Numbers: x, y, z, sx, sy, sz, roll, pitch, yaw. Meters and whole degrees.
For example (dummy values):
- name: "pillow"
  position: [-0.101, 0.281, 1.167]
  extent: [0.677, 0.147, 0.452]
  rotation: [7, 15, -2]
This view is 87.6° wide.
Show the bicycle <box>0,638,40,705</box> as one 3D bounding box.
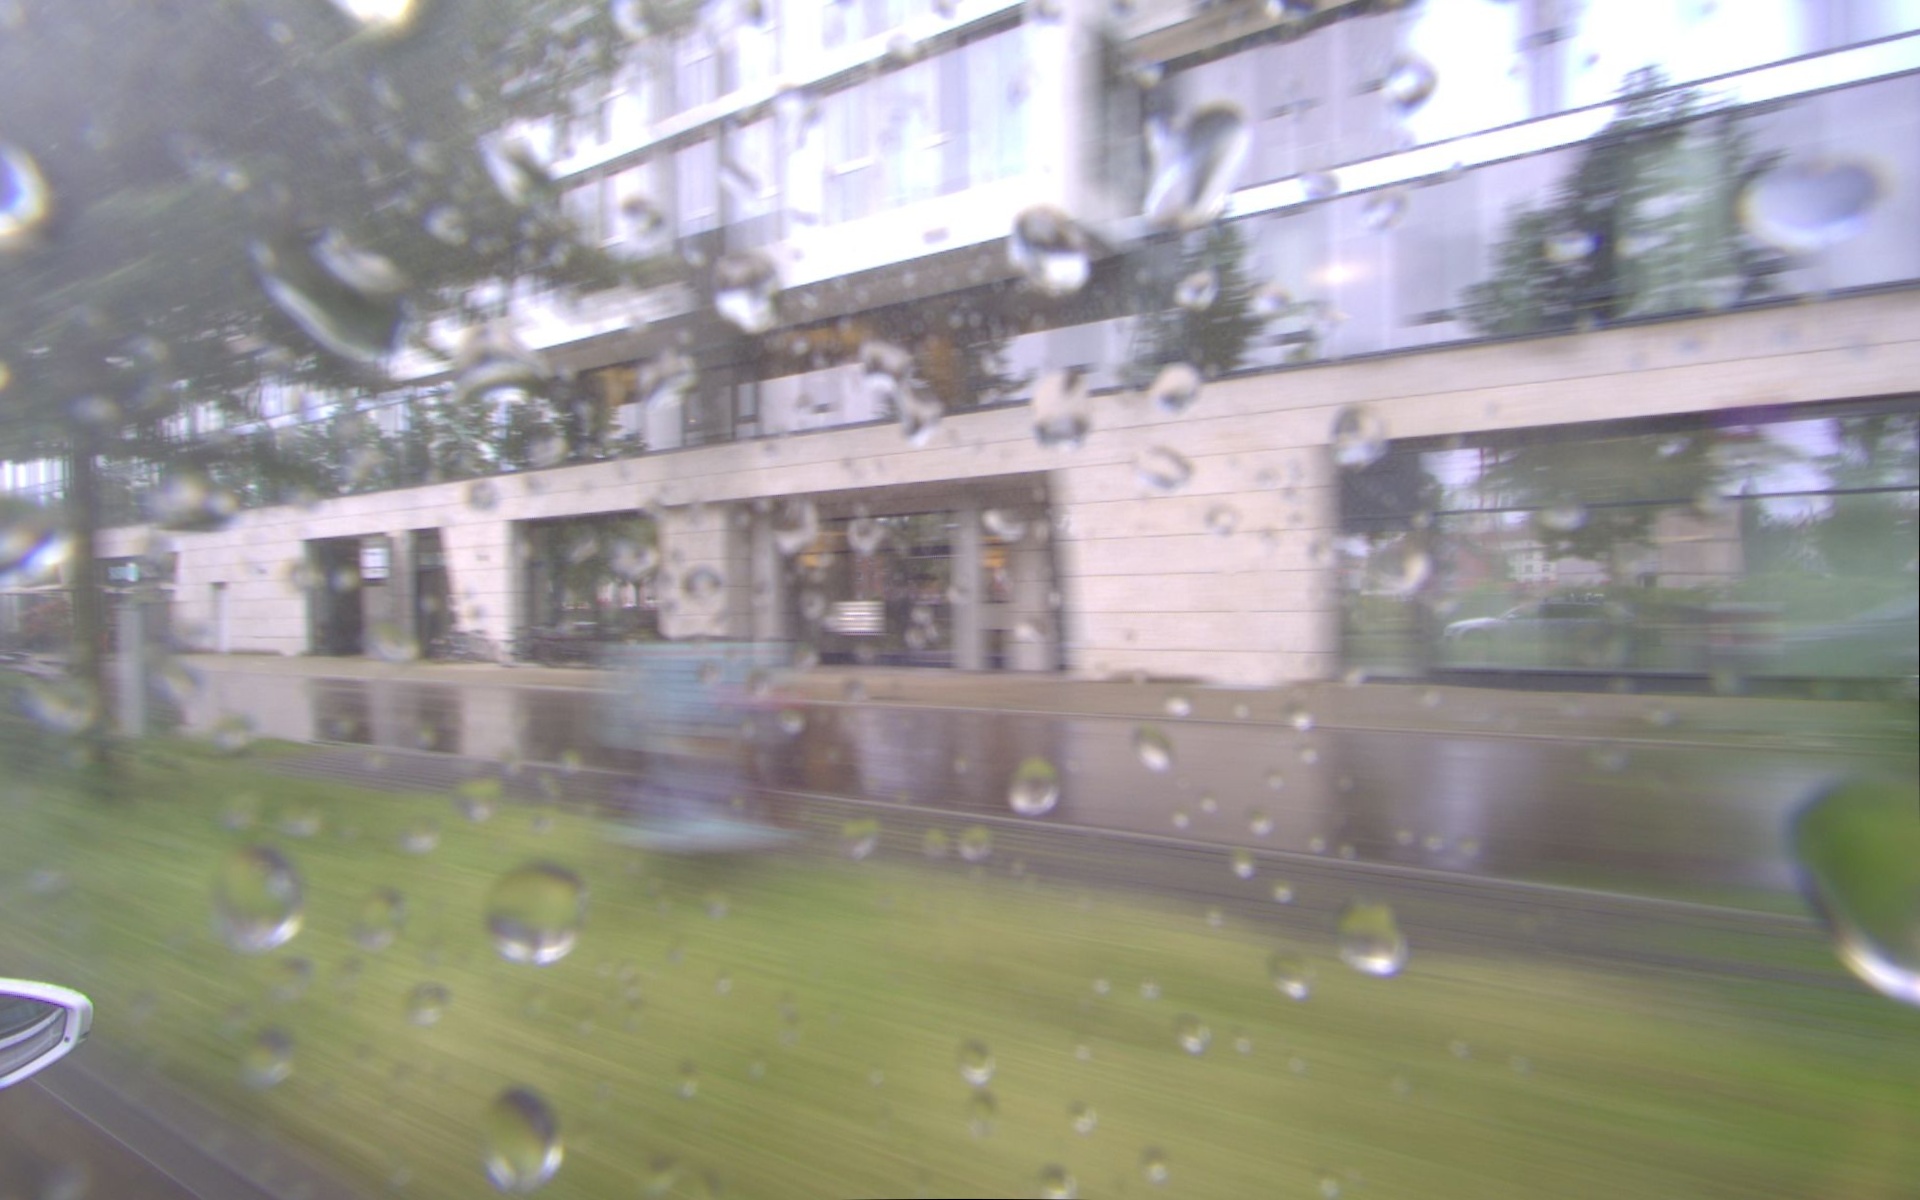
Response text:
- name: "bicycle"
  position: [-15.396, 1.137, 15.660]
  extent: [0.344, 1.031, 1.433]
  rotation: [0, 0, 37]

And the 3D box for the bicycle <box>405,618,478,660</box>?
- name: "bicycle"
  position: [-13.518, 0.999, 26.158]
  extent: [0.417, 1.042, 1.689]
  rotation: [0, 0, 35]

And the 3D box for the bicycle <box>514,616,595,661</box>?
- name: "bicycle"
  position: [-9.796, 0.911, 24.237]
  extent: [0.534, 1.042, 1.801]
  rotation: [0, 0, 35]

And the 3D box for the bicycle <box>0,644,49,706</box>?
- name: "bicycle"
  position: [-13.941, 1.086, 14.333]
  extent: [0.272, 0.860, 1.284]
  rotation: [0, 1, 37]

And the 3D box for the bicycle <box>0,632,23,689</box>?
- name: "bicycle"
  position: [-16.613, 1.014, 16.505]
  extent: [0.308, 0.960, 1.706]
  rotation: [0, -1, 26]

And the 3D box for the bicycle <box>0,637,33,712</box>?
- name: "bicycle"
  position: [-14.541, 1.116, 14.735]
  extent: [0.272, 1.089, 1.282]
  rotation: [0, 1, 40]

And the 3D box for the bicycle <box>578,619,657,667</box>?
- name: "bicycle"
  position: [-7.743, 0.955, 22.718]
  extent: [0.396, 1.042, 1.801]
  rotation: [0, 0, 35]

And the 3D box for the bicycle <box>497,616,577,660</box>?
- name: "bicycle"
  position: [-10.404, 0.920, 24.667]
  extent: [0.534, 1.042, 1.801]
  rotation: [0, 0, 35]

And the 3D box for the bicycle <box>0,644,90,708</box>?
- name: "bicycle"
  position: [-13.556, 1.092, 14.311]
  extent: [0.272, 0.860, 1.666]
  rotation: [0, 1, 36]

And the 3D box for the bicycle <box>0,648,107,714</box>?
- name: "bicycle"
  position: [-12.983, 1.142, 14.236]
  extent: [0.272, 0.860, 1.281]
  rotation: [0, 1, 44]

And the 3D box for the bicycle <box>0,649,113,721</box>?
- name: "bicycle"
  position: [-12.312, 1.129, 13.529]
  extent: [0.297, 0.885, 1.281]
  rotation: [0, 1, 44]

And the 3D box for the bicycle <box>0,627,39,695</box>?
- name: "bicycle"
  position: [-16.295, 1.029, 16.453]
  extent: [0.279, 1.117, 1.705]
  rotation: [0, 0, 26]

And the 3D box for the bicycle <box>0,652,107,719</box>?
- name: "bicycle"
  position: [-12.784, 1.184, 14.000]
  extent: [0.272, 0.860, 1.281]
  rotation: [0, 1, 44]

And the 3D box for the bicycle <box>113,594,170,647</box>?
- name: "bicycle"
  position: [-29.171, 0.694, 35.690]
  extent: [3.074, 1.746, 0.643]
  rotation: [2, 2, 32]

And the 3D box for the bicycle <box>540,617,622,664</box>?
- name: "bicycle"
  position: [-8.842, 0.923, 23.437]
  extent: [0.534, 1.042, 1.801]
  rotation: [0, 0, 35]

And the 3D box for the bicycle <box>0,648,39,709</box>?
- name: "bicycle"
  position: [-14.212, 1.154, 14.487]
  extent: [0.272, 0.869, 1.284]
  rotation: [0, 0, 37]

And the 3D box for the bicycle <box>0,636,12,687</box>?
- name: "bicycle"
  position: [-16.944, 1.054, 16.645]
  extent: [0.309, 0.860, 1.704]
  rotation: [0, 0, 28]

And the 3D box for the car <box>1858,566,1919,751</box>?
- name: "car"
  position: [10.431, 0.503, 7.681]
  extent: [4.962, 1.521, 1.989]
  rotation: [1, 1, 33]

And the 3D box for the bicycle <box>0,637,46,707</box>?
- name: "bicycle"
  position: [-14.819, 1.109, 15.033]
  extent: [0.403, 1.031, 1.567]
  rotation: [0, 1, 39]

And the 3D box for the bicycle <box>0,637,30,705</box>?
- name: "bicycle"
  position: [-15.199, 1.109, 15.280]
  extent: [0.344, 1.031, 1.433]
  rotation: [0, 0, 39]

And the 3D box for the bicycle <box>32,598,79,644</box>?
- name: "bicycle"
  position: [-37.336, 0.835, 41.328]
  extent: [3.074, 1.746, 0.643]
  rotation: [2, 2, 32]

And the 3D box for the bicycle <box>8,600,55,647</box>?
- name: "bicycle"
  position: [-37.775, 0.926, 40.721]
  extent: [3.074, 1.746, 0.643]
  rotation: [2, 2, 32]

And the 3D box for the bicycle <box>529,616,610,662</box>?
- name: "bicycle"
  position: [-9.284, 0.907, 23.849]
  extent: [0.534, 1.042, 1.801]
  rotation: [0, 0, 35]

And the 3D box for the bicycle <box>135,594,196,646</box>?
- name: "bicycle"
  position: [-28.976, 0.686, 36.493]
  extent: [3.074, 1.746, 0.770]
  rotation: [2, 2, 32]

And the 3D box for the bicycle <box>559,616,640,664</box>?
- name: "bicycle"
  position: [-8.309, 0.912, 23.150]
  extent: [0.534, 1.042, 1.801]
  rotation: [0, 0, 35]

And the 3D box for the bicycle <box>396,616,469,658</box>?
- name: "bicycle"
  position: [-13.920, 0.956, 26.457]
  extent: [0.417, 1.042, 1.689]
  rotation: [0, 0, 35]

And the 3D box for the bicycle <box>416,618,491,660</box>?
- name: "bicycle"
  position: [-13.087, 0.996, 25.898]
  extent: [0.406, 1.042, 1.745]
  rotation: [0, 0, 35]

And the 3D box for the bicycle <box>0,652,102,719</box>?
- name: "bicycle"
  position: [-12.630, 1.161, 13.735]
  extent: [0.272, 0.843, 1.281]
  rotation: [0, 1, 44]
